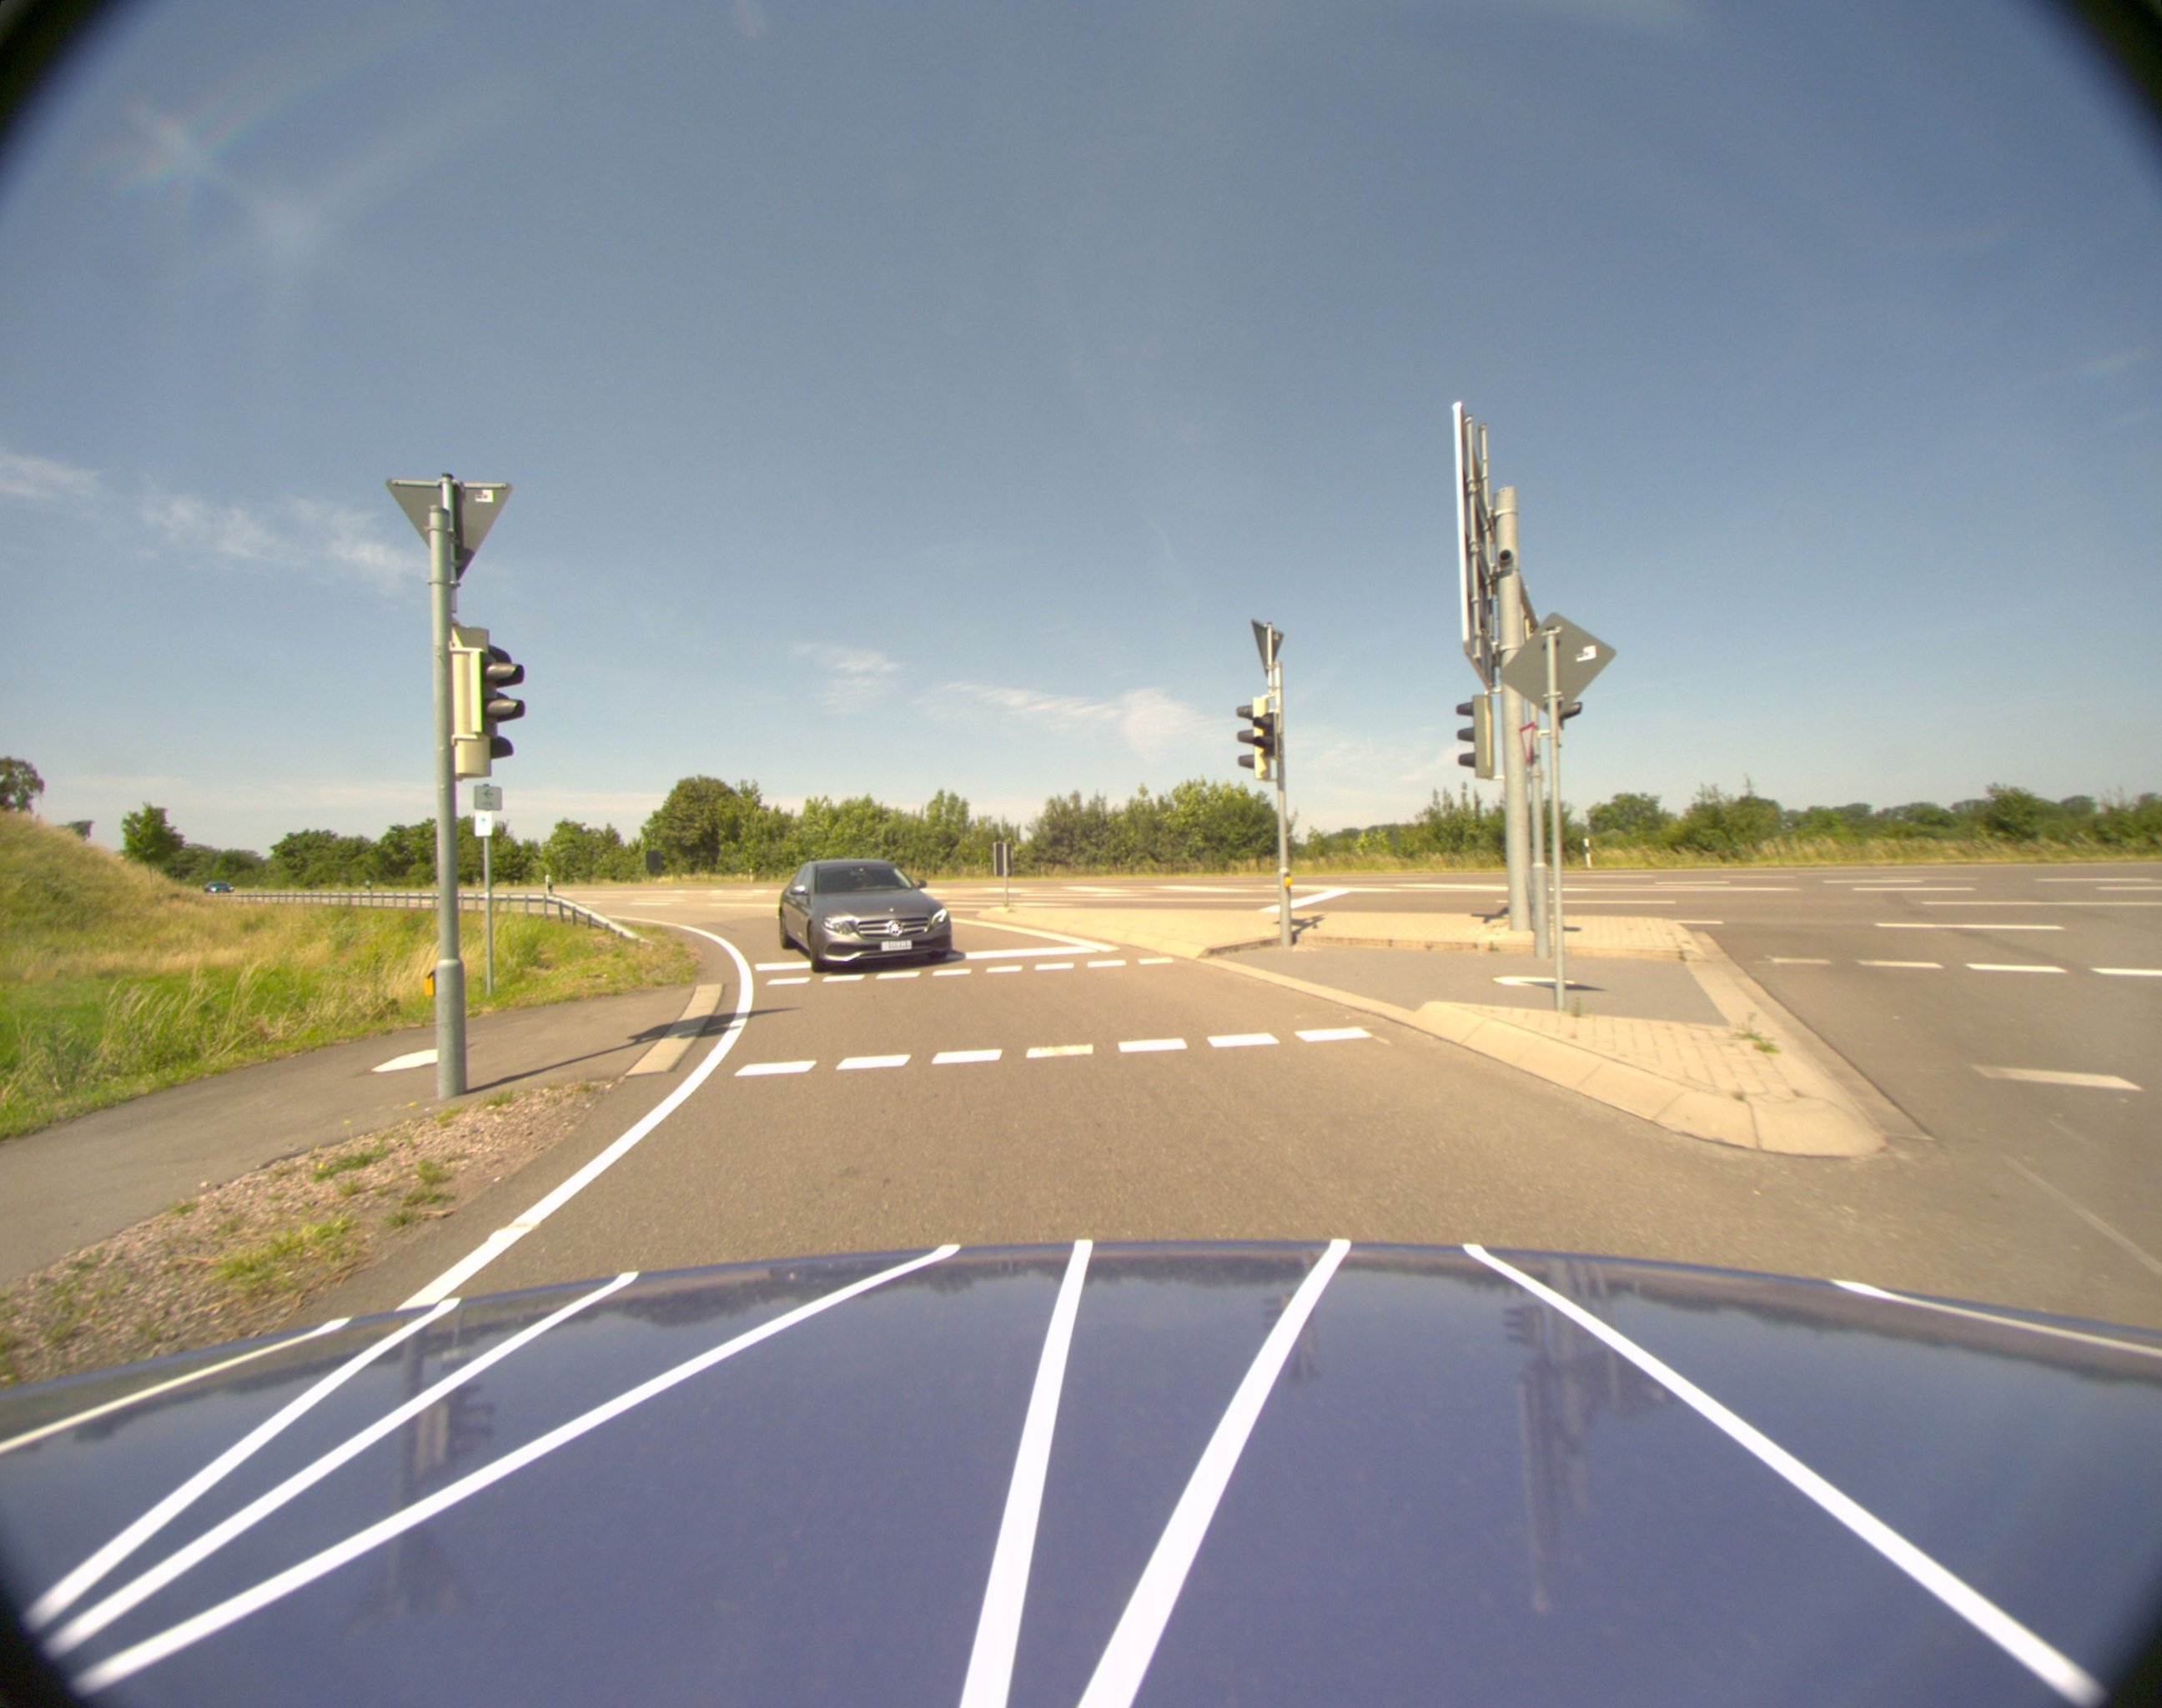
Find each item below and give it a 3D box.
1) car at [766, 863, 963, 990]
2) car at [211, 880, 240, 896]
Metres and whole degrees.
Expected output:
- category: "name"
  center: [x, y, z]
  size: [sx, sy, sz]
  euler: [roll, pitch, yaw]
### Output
- category: "car"
  center: [-3.535, 0.917, 11.720]
  size: [1.898, 1.439, 4.515]
  euler: [-3, 1, -29]
- category: "car"
  center: [-100.649, 3.929, 89.369]
  size: [3.988, 1.674, 1.806]
  euler: [0, 3, 37]
